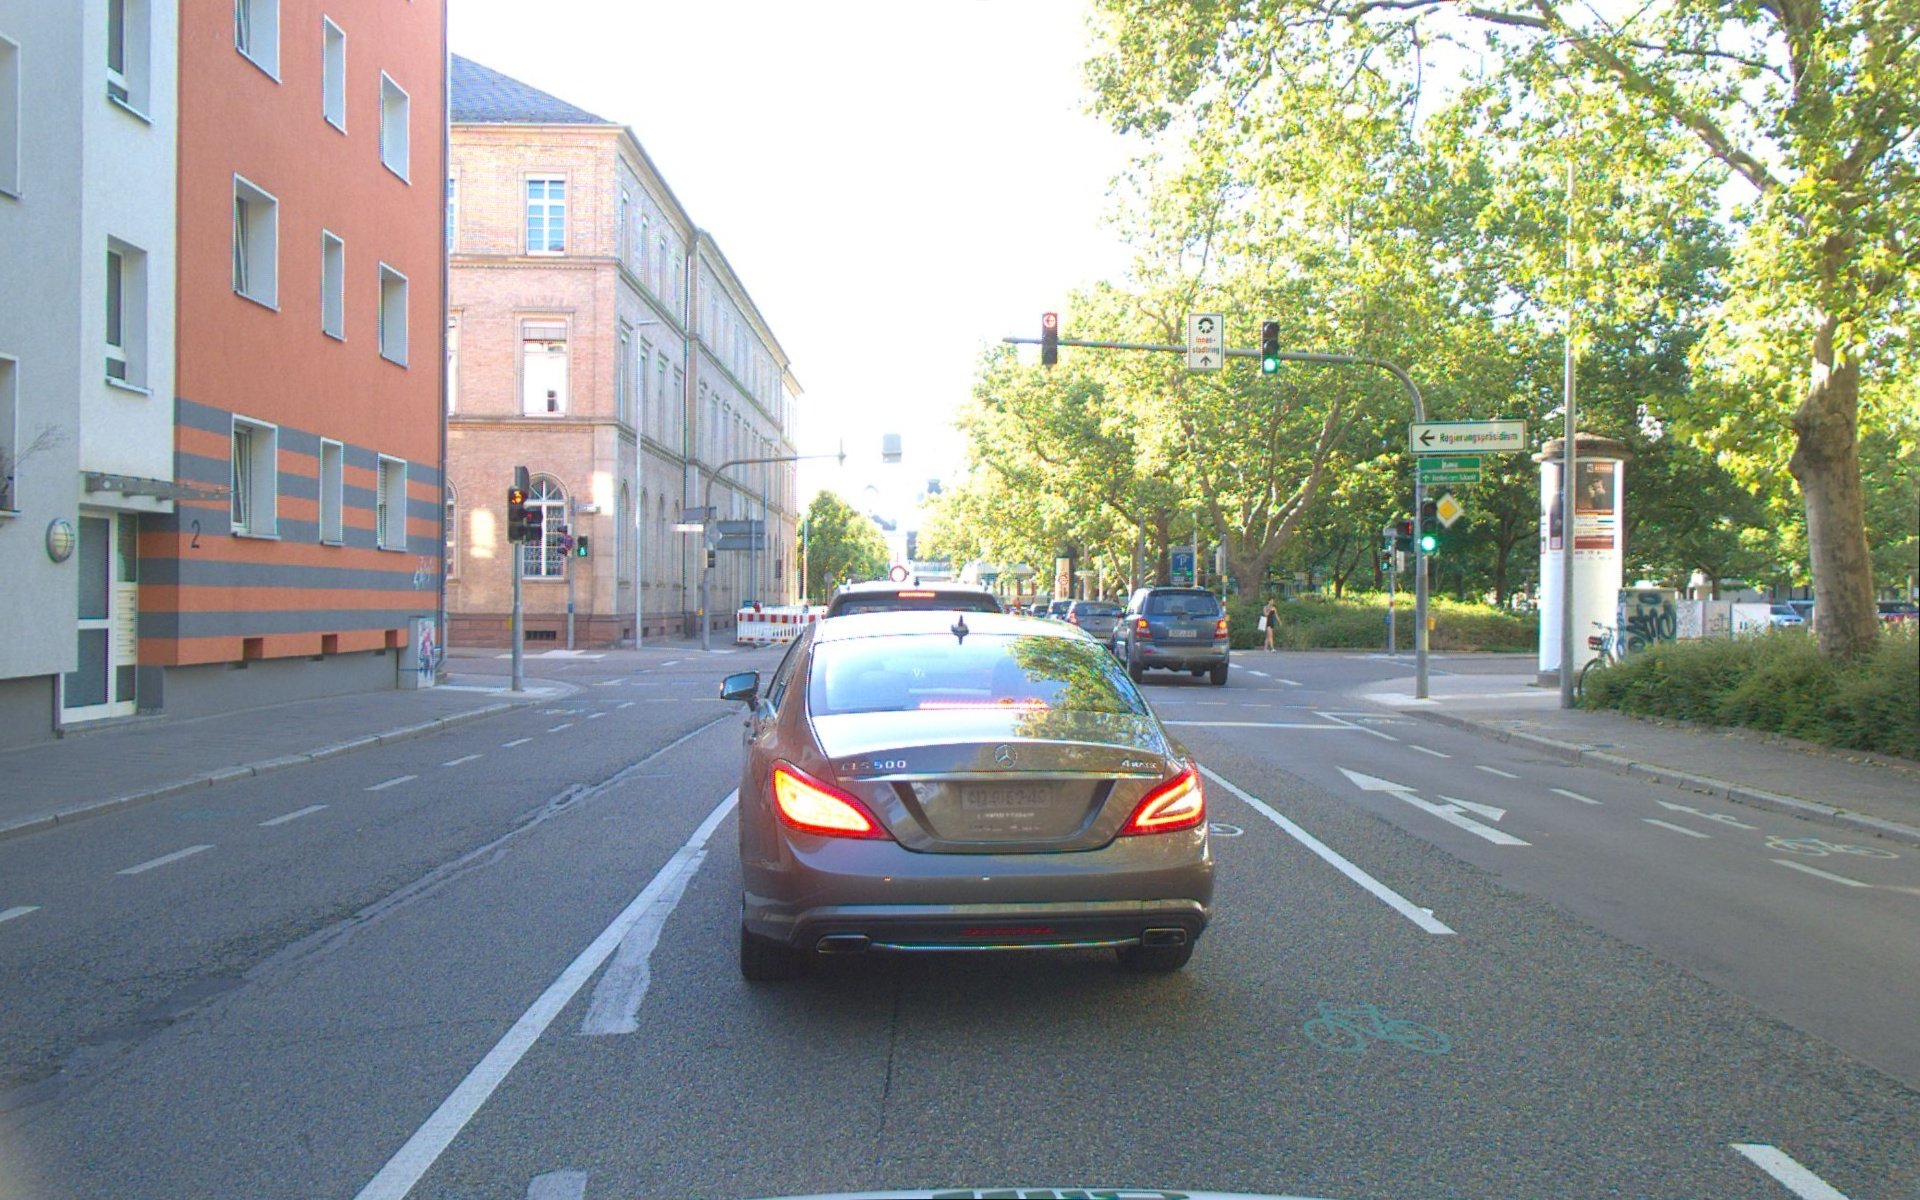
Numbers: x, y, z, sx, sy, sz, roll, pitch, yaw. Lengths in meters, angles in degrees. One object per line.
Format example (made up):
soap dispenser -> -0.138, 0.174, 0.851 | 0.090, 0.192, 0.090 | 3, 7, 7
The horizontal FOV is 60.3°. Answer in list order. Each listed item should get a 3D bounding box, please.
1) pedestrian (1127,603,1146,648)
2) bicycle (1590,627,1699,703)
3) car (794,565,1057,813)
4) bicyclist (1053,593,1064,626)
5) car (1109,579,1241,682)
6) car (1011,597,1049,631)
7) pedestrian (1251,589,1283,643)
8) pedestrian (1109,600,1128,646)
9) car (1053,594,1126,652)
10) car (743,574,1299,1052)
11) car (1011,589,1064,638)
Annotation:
pedestrian -> 7.087, 1.003, 66.588 | 0.623, 1.791, 0.698 | 1, -1, -5
bicycle -> 9.870, 0.923, 23.833 | 1.868, 1.046, 0.633 | 1, -1, -39
car -> -0.270, 0.619, 13.587 | 1.823, 1.712, 3.999 | 1, 0, -1
bicyclist -> 6.264, 0.607, 105.119 | 0.583, 2.075, 0.565 | 1, -1, -5
car -> 3.980, 0.534, 31.300 | 1.823, 1.794, 4.481 | 1, 0, -1
car -> 3.332, 0.661, 78.887 | 1.568, 1.576, 3.680 | 1, 0, -1
pedestrian -> 9.181, 0.474, 49.456 | 0.625, 1.572, 0.907 | 1, -1, -14
pedestrian -> 6.398, 0.937, 66.581 | 0.623, 1.828, 0.698 | 1, -1, -5
car -> 3.563, 0.604, 46.043 | 1.670, 1.545, 3.999 | 1, 0, -1
car -> -0.034, 0.690, 7.459 | 1.826, 1.545, 3.993 | 1, 0, -8
car -> 2.823, 0.491, 60.841 | 1.696, 1.691, 3.680 | 1, 0, -1
